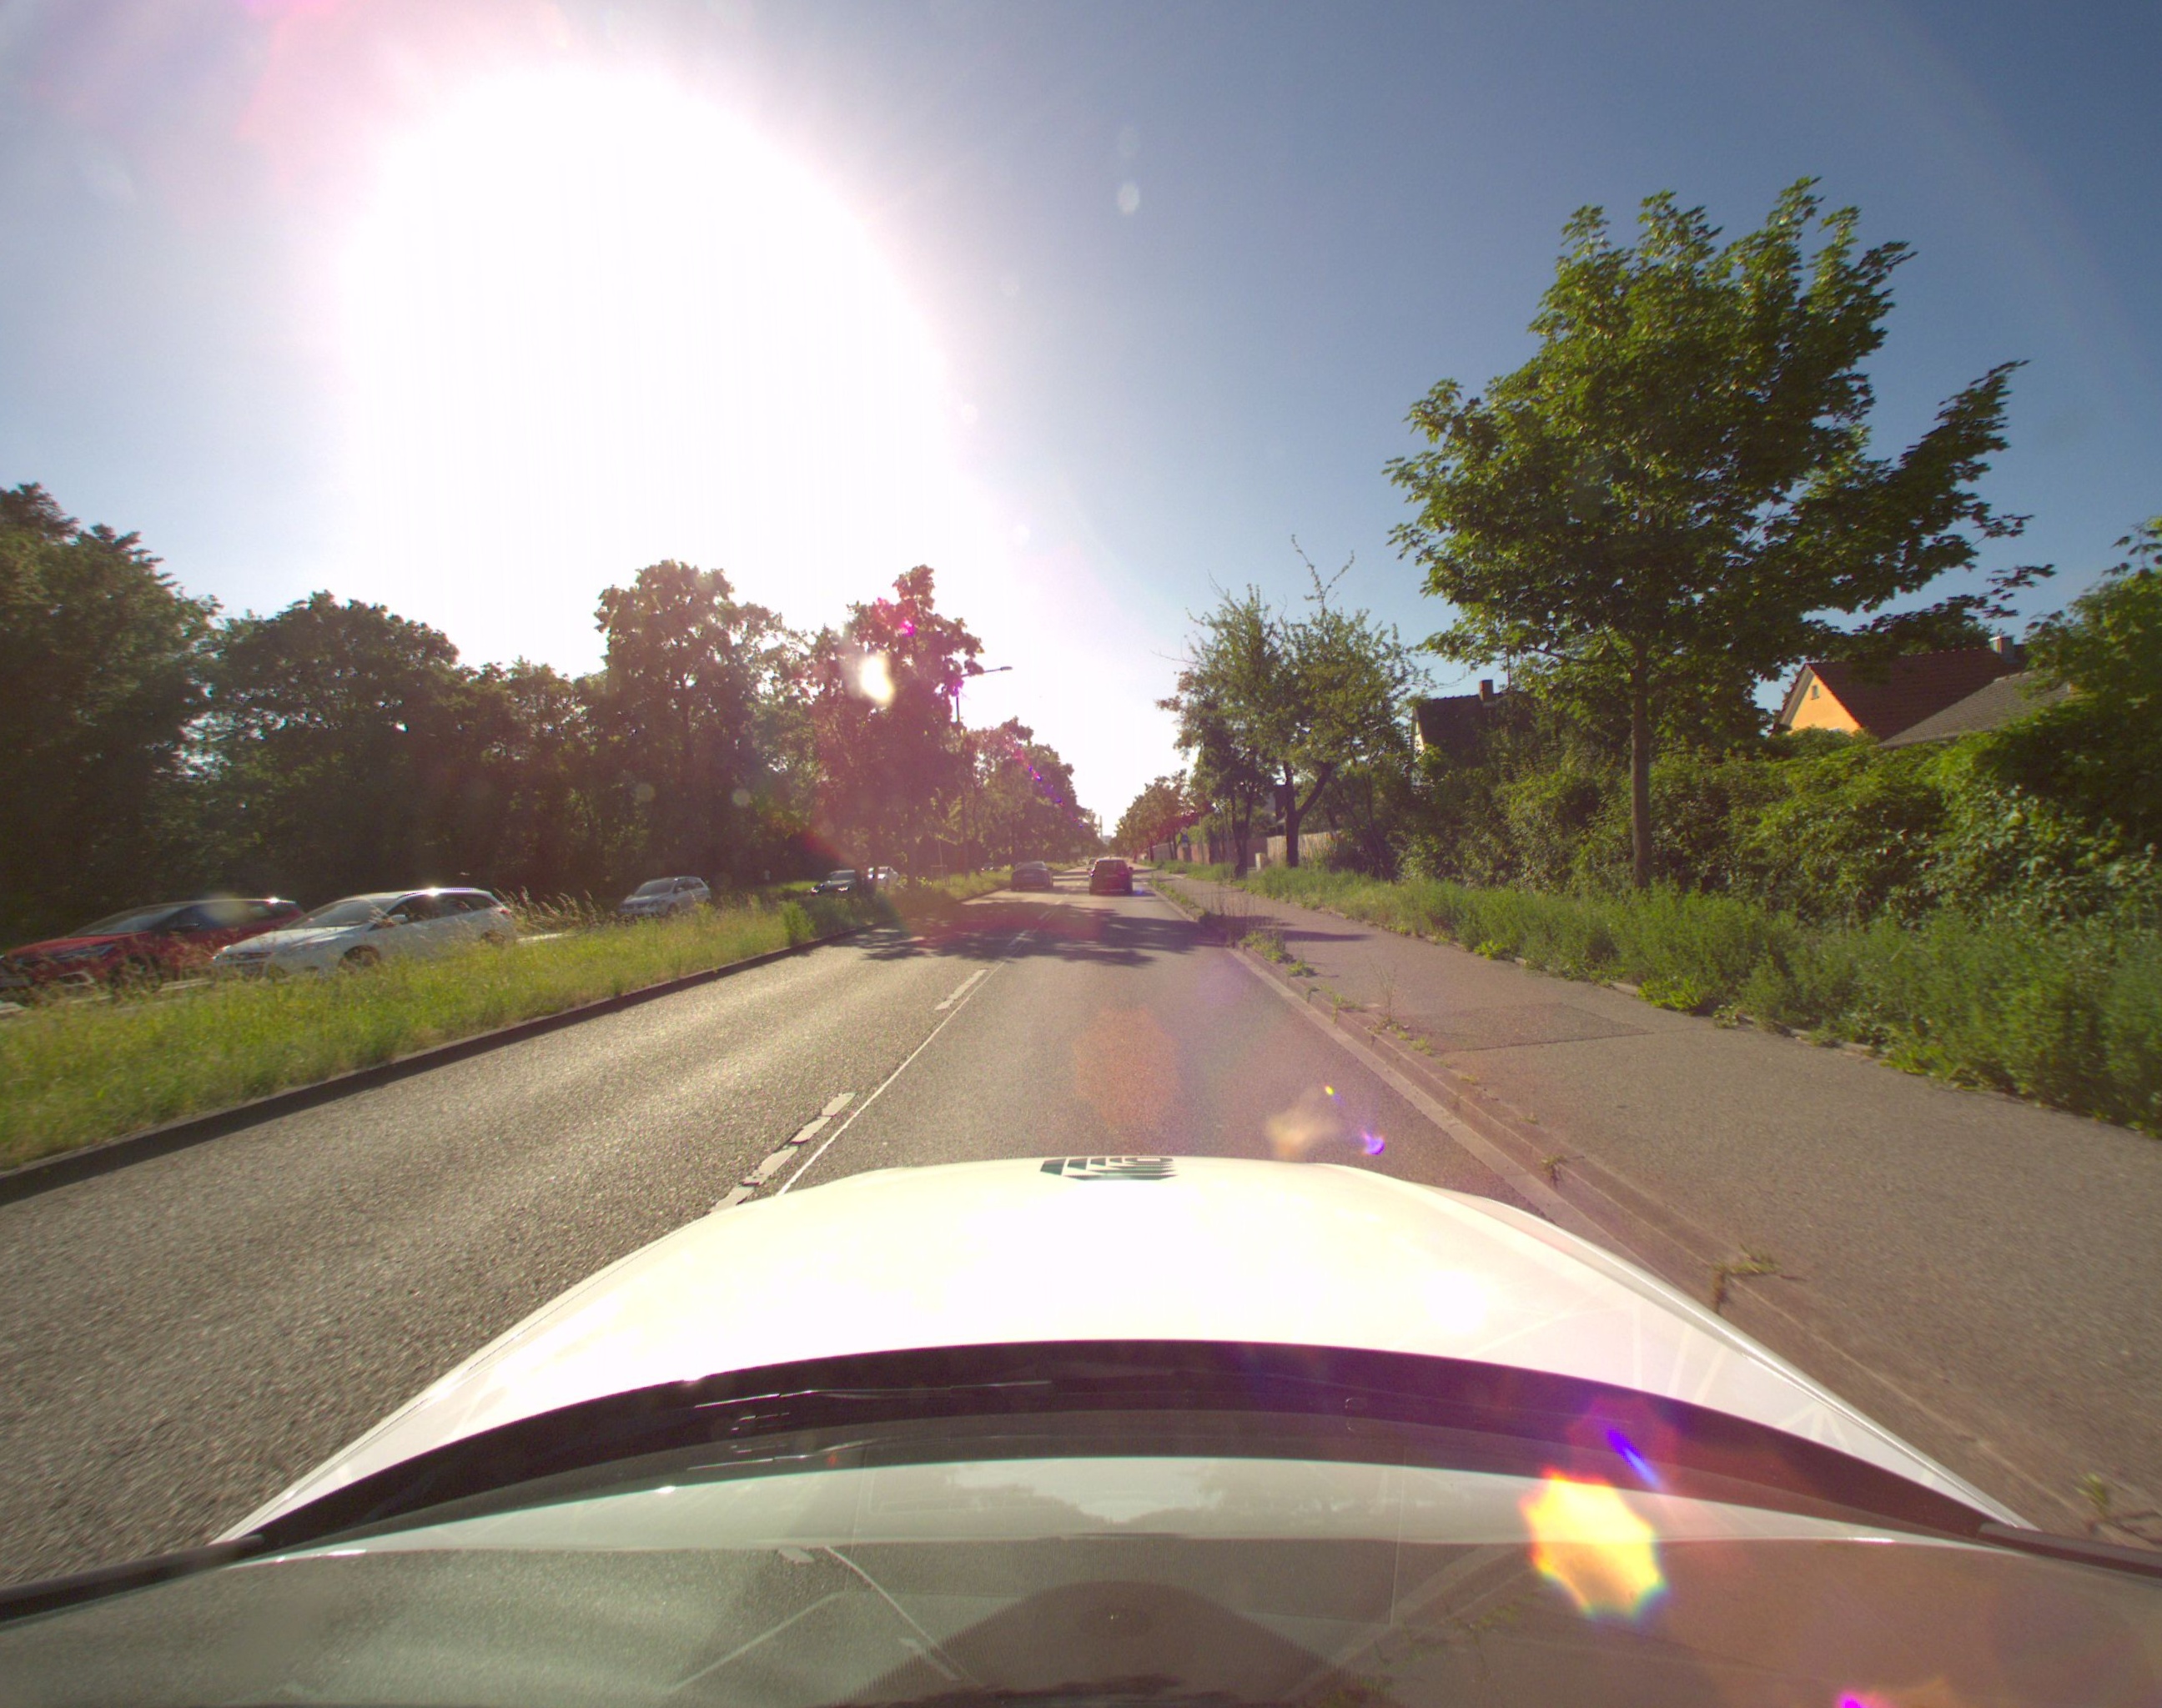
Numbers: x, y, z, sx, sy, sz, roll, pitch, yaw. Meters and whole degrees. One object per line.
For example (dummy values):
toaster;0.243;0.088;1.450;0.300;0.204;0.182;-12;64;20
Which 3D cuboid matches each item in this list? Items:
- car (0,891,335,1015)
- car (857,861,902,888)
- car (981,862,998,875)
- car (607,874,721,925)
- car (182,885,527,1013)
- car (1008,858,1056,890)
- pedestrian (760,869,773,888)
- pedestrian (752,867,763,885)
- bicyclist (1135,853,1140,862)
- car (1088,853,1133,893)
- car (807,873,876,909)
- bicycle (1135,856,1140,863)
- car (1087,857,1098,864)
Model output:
car;-15.776;1.596;14.245;1.598;1.563;4.000;-5;0;1
car;-14.150;1.416;57.454;1.834;1.589;4.585;-8;0;0
car;-12.494;2.002;110.770;1.708;1.505;3.019;-4;1;3
car;-14.748;1.574;29.082;1.706;1.472;4.067;-4;0;3
car;-11.843;1.437;13.779;1.706;1.602;4.362;-3;0;3
car;-2.373;0.941;40.230;1.988;1.405;4.001;-3;0;1
pedestrian;-25.157;1.988;65.160;0.542;1.460;0.917;-3;0;2
pedestrian;-25.918;1.755;65.260;0.542;1.460;0.596;-2;-1;2
bicyclist;8.587;0.502;123.171;0.677;1.418;0.812;-2;0;2
car;1.259;0.755;33.865;1.753;1.559;4.003;-1;0;3
car;-10.779;1.637;36.959;1.695;1.395;4.253;-2;0;2
bicycle;8.588;0.829;122.844;0.653;0.892;1.875;-3;0;2
car;2.477;1.439;176.416;1.973;1.440;3.997;-3;1;-2
